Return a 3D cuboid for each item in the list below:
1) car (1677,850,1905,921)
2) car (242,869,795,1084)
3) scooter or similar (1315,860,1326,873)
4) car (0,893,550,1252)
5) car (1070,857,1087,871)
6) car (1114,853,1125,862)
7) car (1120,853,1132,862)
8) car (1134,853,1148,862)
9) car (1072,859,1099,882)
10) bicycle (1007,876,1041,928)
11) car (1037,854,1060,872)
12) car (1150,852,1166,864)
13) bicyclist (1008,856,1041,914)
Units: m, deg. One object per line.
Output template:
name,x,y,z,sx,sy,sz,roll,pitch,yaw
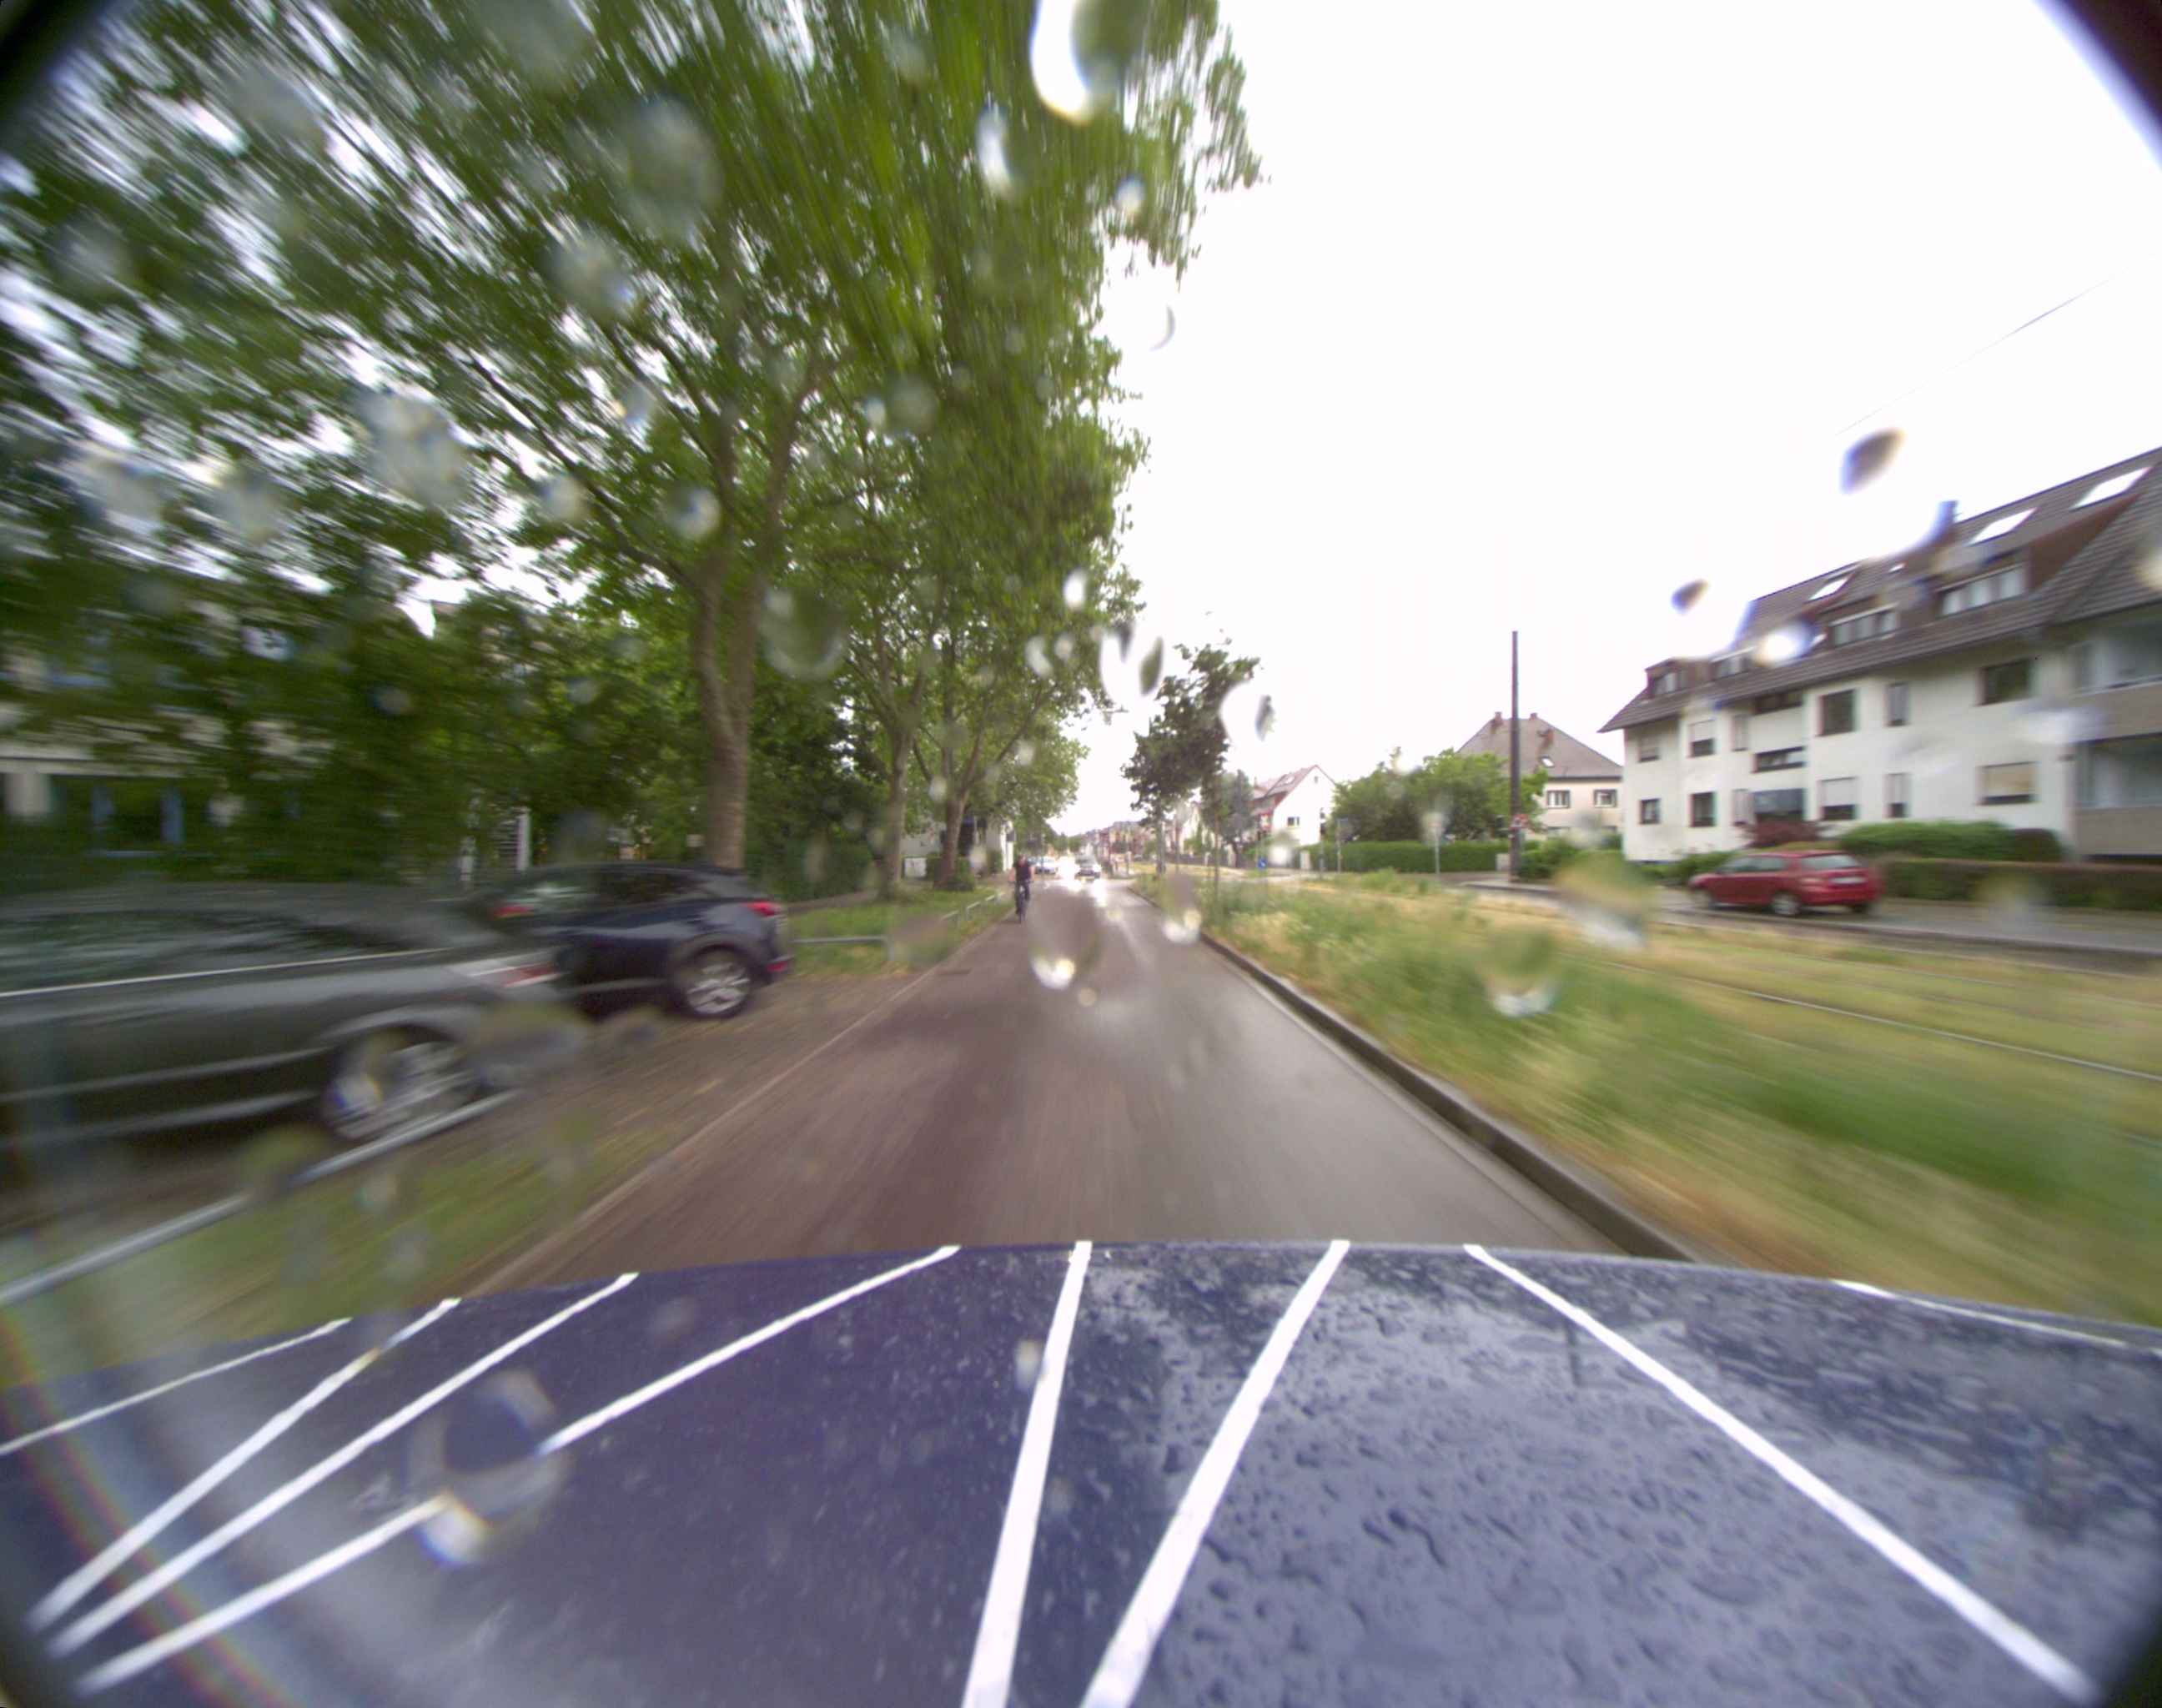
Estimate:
car,16.740,0.677,18.239,1.802,1.448,4.001,-3,0,3
car,-4.928,0.918,7.289,3.811,1.523,1.878,0,0,-31
scooter or similar,18.425,0.955,58.482,0.347,0.905,1.258,-1,0,-4
car,-5.232,1.002,3.935,4.070,1.410,1.737,0,1,-35
car,-0.274,1.034,81.810,1.780,1.477,4.000,1,0,0
car,8.326,0.784,164.945,1.999,2.002,3.998,-1,0,-5
car,10.645,0.817,179.930,2.000,2.002,3.998,-1,0,-6
car,12.540,0.731,158.932,2.000,2.002,3.998,-1,0,-6
car,0.330,1.113,52.859,1.780,1.477,4.000,1,0,0
bicycle,-1.428,1.177,19.327,0.675,1.136,2.445,-3,0,-1
car,-2.828,0.792,66.194,1.780,1.477,4.000,1,0,0
car,13.926,0.709,137.566,1.999,2.002,3.998,-1,0,-5
bicyclist,-1.442,0.776,19.437,0.675,1.421,0.754,-4,1,0
